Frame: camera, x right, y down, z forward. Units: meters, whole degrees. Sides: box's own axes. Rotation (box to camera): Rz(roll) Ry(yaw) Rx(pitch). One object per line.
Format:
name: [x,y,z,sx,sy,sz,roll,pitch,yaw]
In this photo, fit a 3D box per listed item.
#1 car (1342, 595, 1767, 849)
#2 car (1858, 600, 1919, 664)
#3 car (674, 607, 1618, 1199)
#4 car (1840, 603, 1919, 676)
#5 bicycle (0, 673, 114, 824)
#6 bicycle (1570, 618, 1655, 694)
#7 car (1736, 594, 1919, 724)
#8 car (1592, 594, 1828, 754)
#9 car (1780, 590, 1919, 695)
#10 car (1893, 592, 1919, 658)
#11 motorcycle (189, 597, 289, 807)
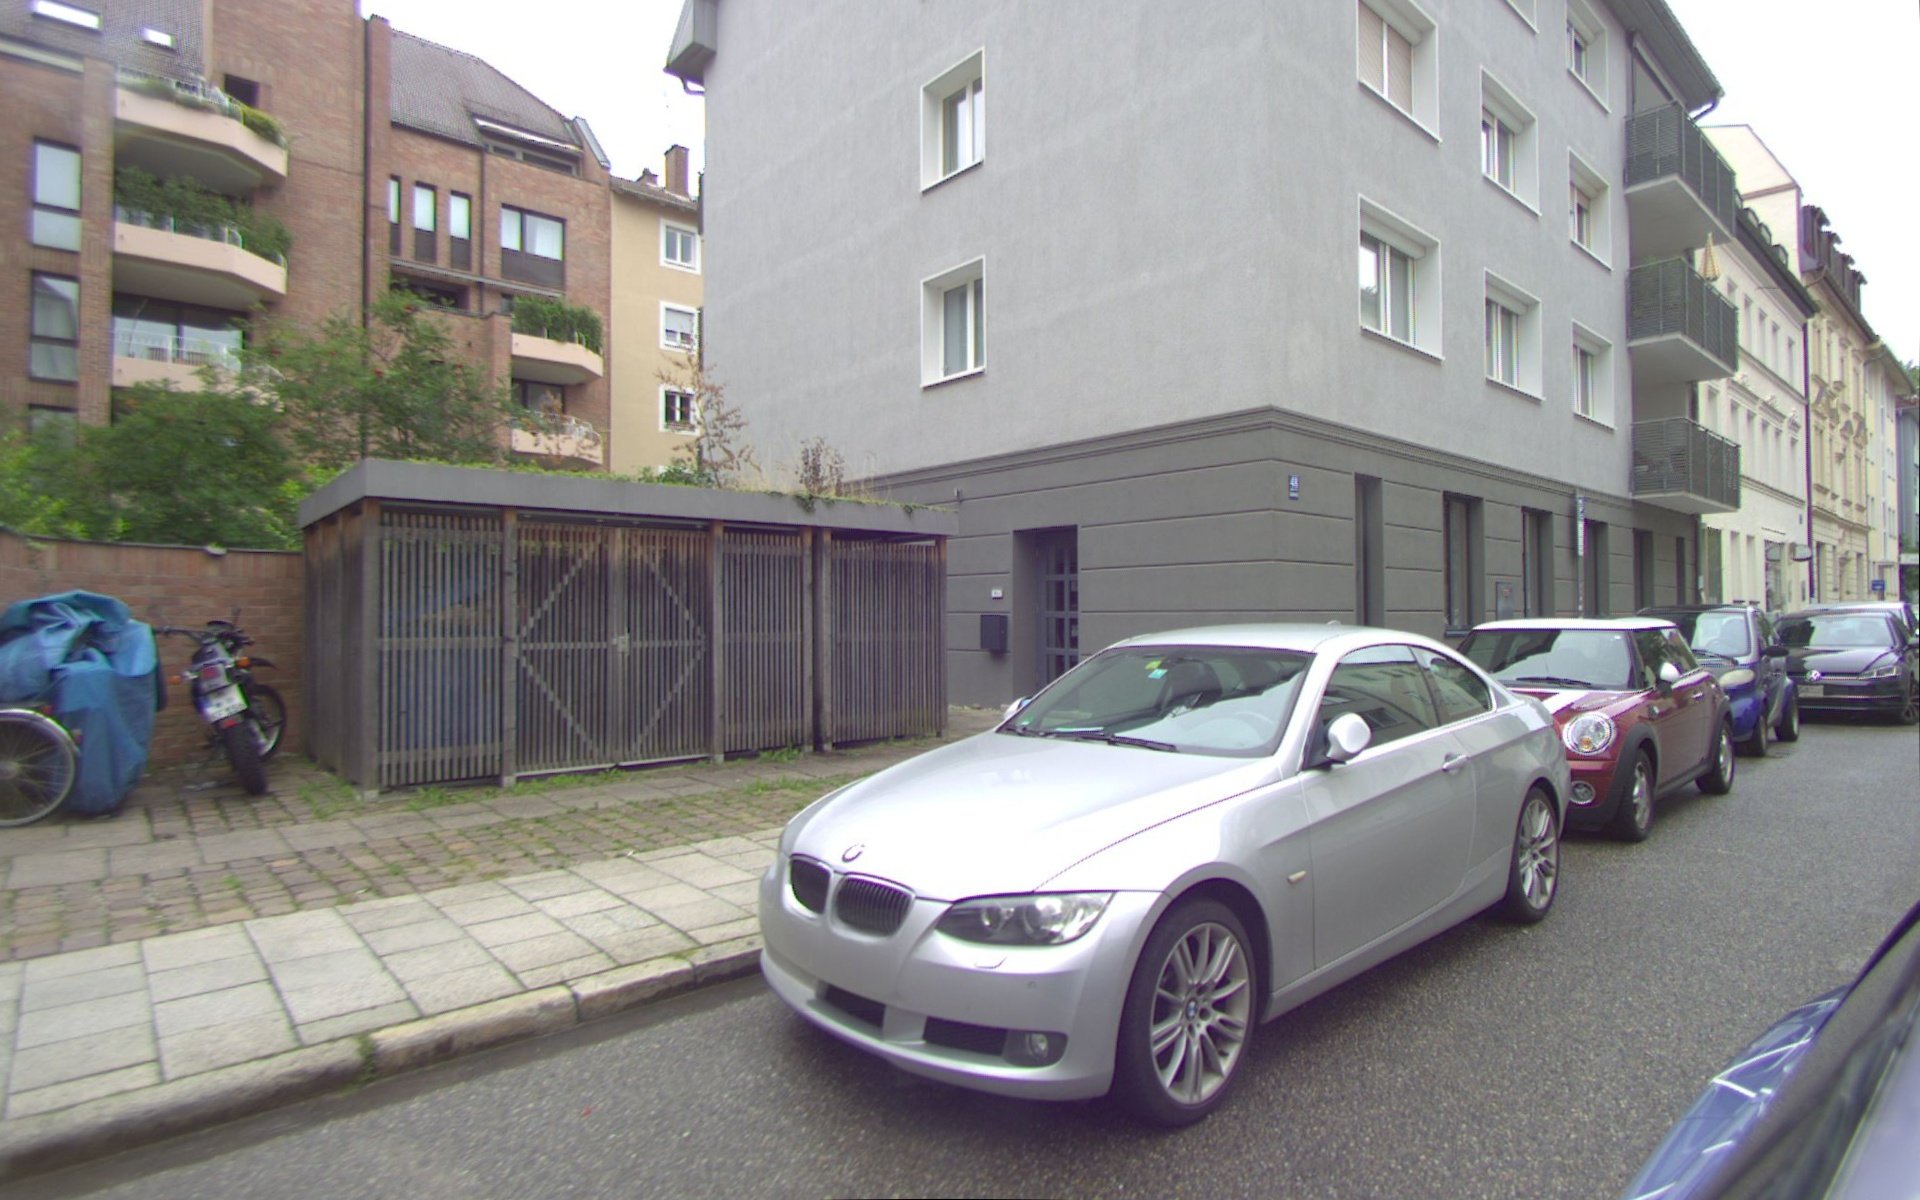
car: [4.817,0.734,7.945,4.079,1.481,1.747,0,-2,-43]
car: [22.704,0.712,23.892,4.274,1.403,1.802,0,0,-42]
car: [1.225,0.774,4.566,4.522,1.435,1.838,0,-2,-43]
car: [19.554,0.760,20.716,3.876,1.380,1.811,0,0,-41]
bicycle: [-6.057,0.927,6.224,1.296,0.870,0.375,0,0,-38]
bicycle: [10.253,0.846,15.885,1.961,1.105,0.570,0,-1,-41]
car: [12.415,0.727,14.089,4.220,1.548,1.841,0,-2,-43]
car: [8.443,0.724,11.323,3.148,1.531,1.522,0,-2,-43]
car: [15.658,0.636,17.398,4.244,1.590,1.877,0,0,-43]
car: [26.386,0.630,27.065,4.434,1.682,1.678,0,-2,-42]
motorcycle: [-5.507,0.660,7.743,0.540,1.360,2.523,0,0,-35]
